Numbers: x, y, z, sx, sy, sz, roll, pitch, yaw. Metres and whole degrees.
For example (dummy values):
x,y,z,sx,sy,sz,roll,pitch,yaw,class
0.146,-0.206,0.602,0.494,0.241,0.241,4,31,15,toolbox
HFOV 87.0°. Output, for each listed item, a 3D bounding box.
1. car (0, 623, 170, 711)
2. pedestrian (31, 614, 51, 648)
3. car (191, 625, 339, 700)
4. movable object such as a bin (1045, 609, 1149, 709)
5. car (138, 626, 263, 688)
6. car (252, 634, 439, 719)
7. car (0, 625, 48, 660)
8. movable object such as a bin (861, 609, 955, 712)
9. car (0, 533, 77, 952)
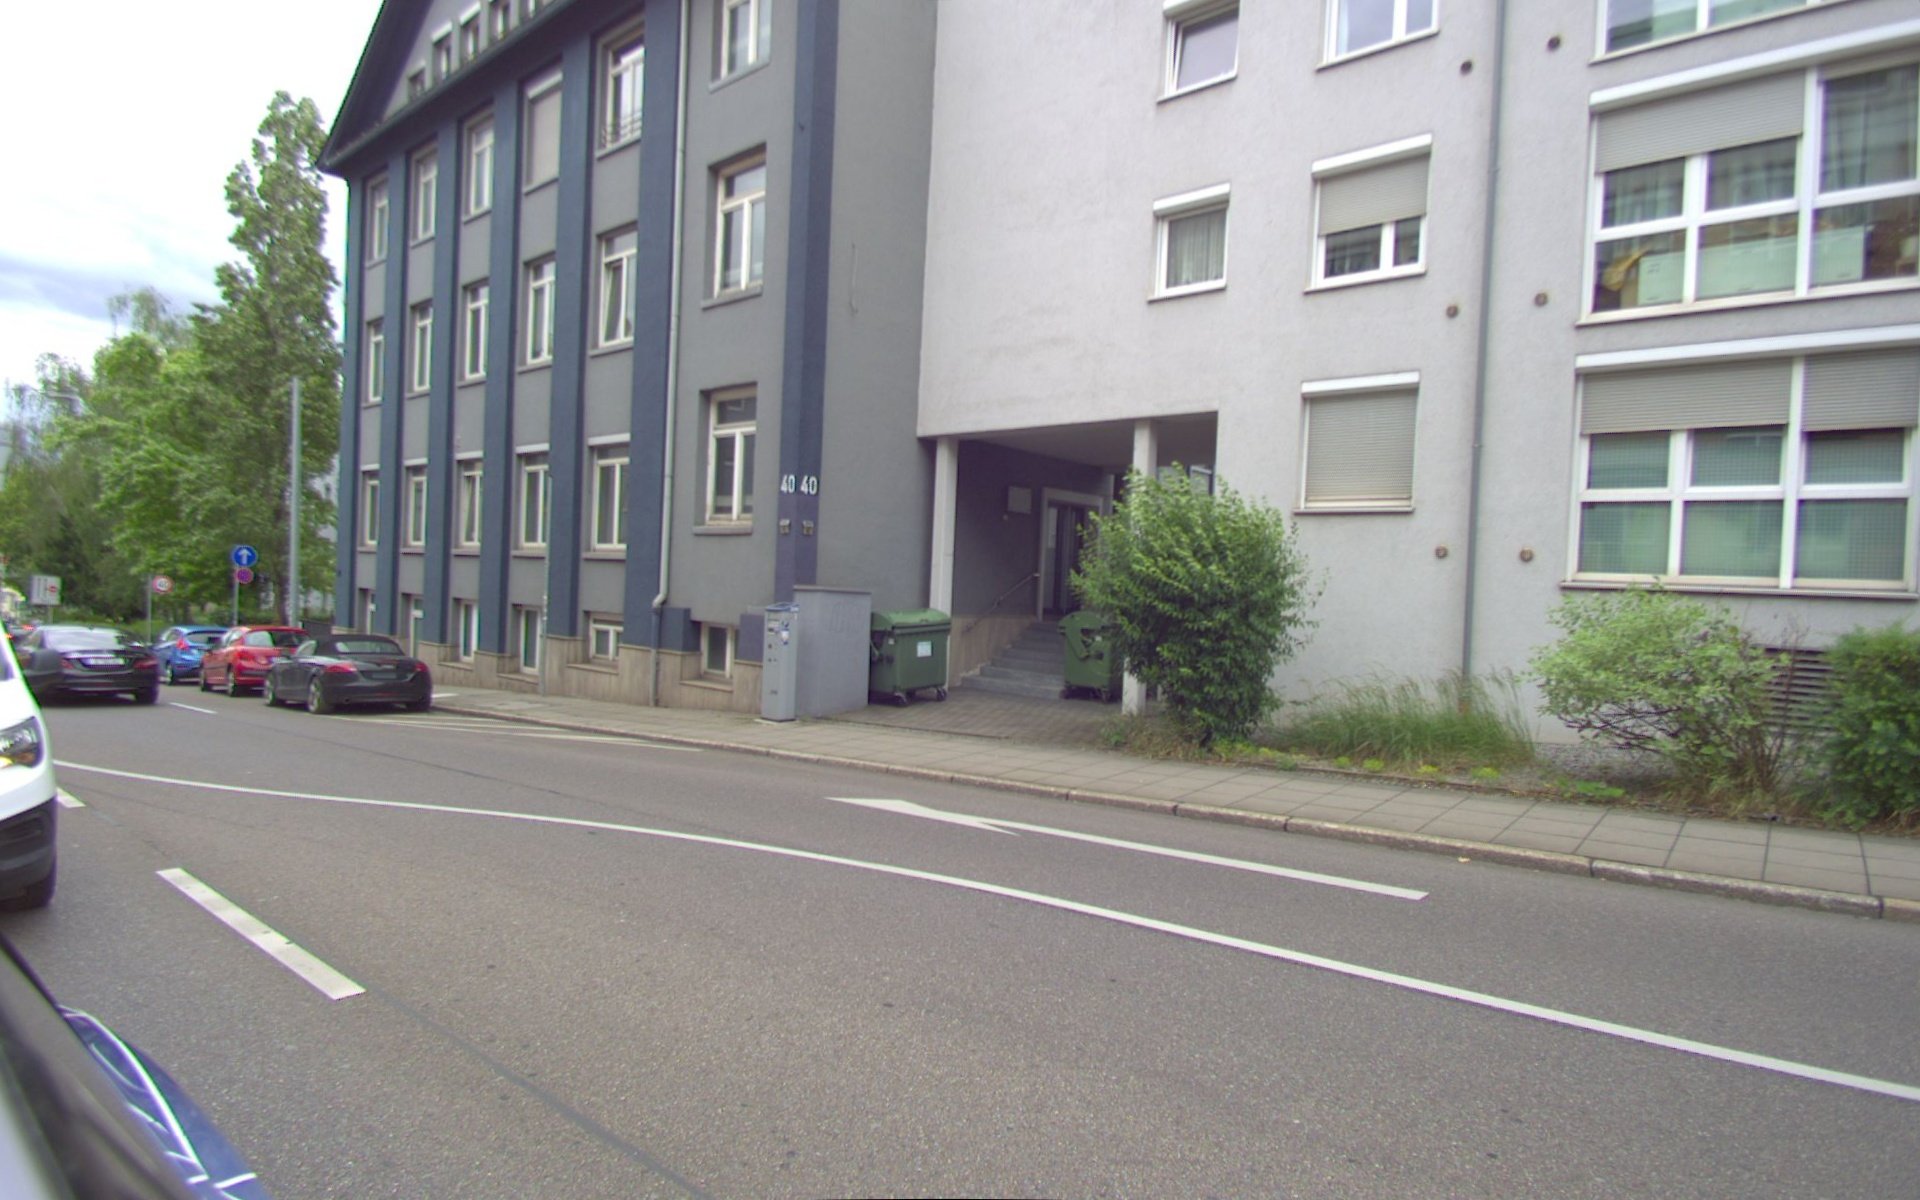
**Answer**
x,y,z,sx,sy,sz,roll,pitch,yaw,class
-16.239,1.177,18.649,4.668,1.429,1.766,-1,-4,41,car
-51.241,1.729,56.431,0.776,1.864,0.736,-2,-1,42,pedestrian
-15.257,1.341,22.146,3.868,1.485,1.795,-2,-4,42,car
2.250,0.935,16.618,1.190,1.489,1.132,5,2,41,movable object such as a bin
-19.332,1.418,25.723,3.724,1.465,1.702,-1,-3,40,car
-11.049,1.318,18.094,4.040,1.337,1.701,-1,-4,42,car
-40.319,1.799,43.159,3.793,1.411,1.655,-1,-4,41,car
-0.797,0.903,15.690,0.784,1.467,1.251,0,1,44,movable object such as a bin
-6.454,0.669,5.547,4.937,1.821,1.816,-1,0,42,car
